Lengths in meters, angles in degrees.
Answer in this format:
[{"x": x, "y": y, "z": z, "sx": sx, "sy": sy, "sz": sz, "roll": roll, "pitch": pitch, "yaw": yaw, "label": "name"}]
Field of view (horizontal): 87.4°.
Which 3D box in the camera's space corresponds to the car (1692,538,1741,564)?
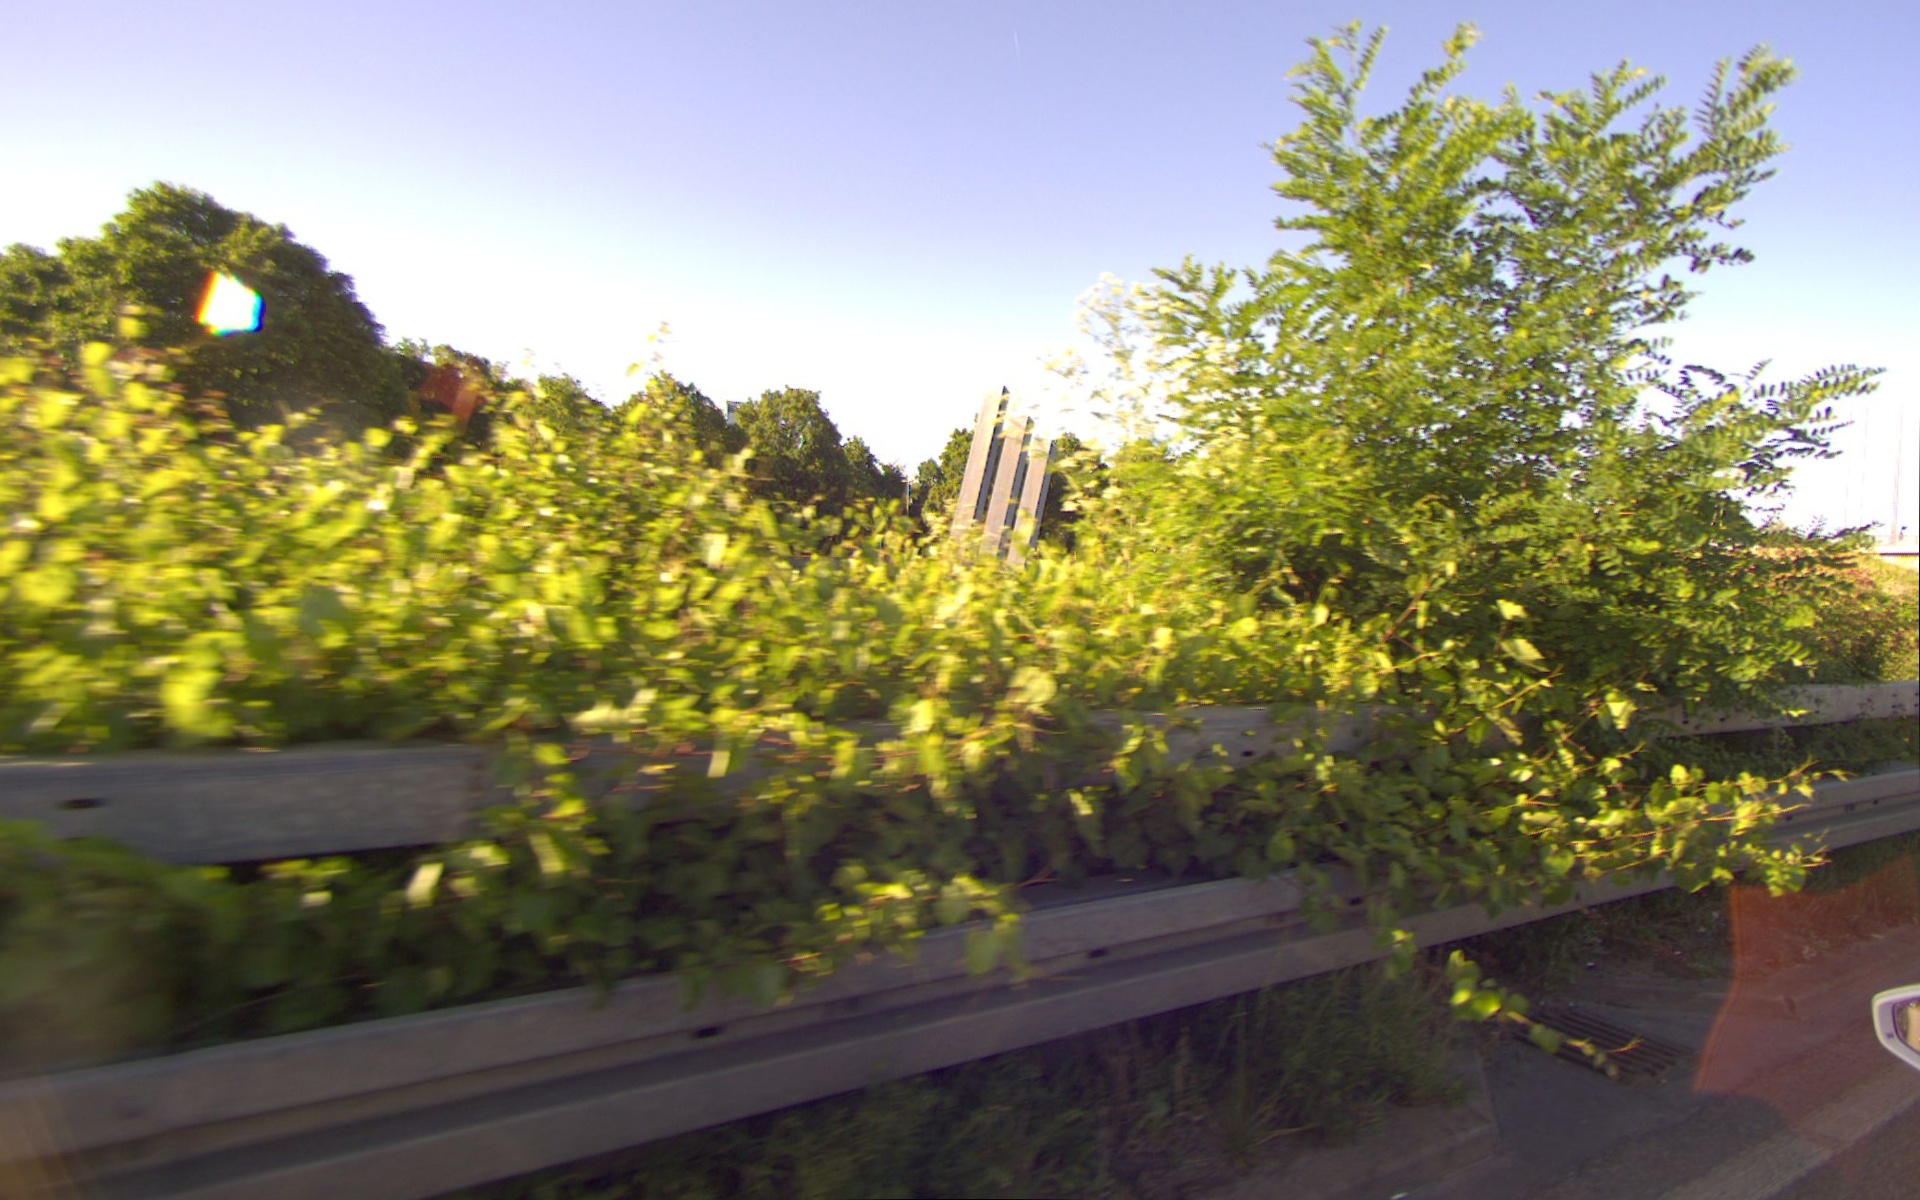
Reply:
[{"x": 89.271, "y": -5.766, "z": 118.618, "sx": 2.044, "sy": 2.843, "sz": 4.315, "roll": 1, "pitch": 1, "yaw": -10, "label": "car"}]
